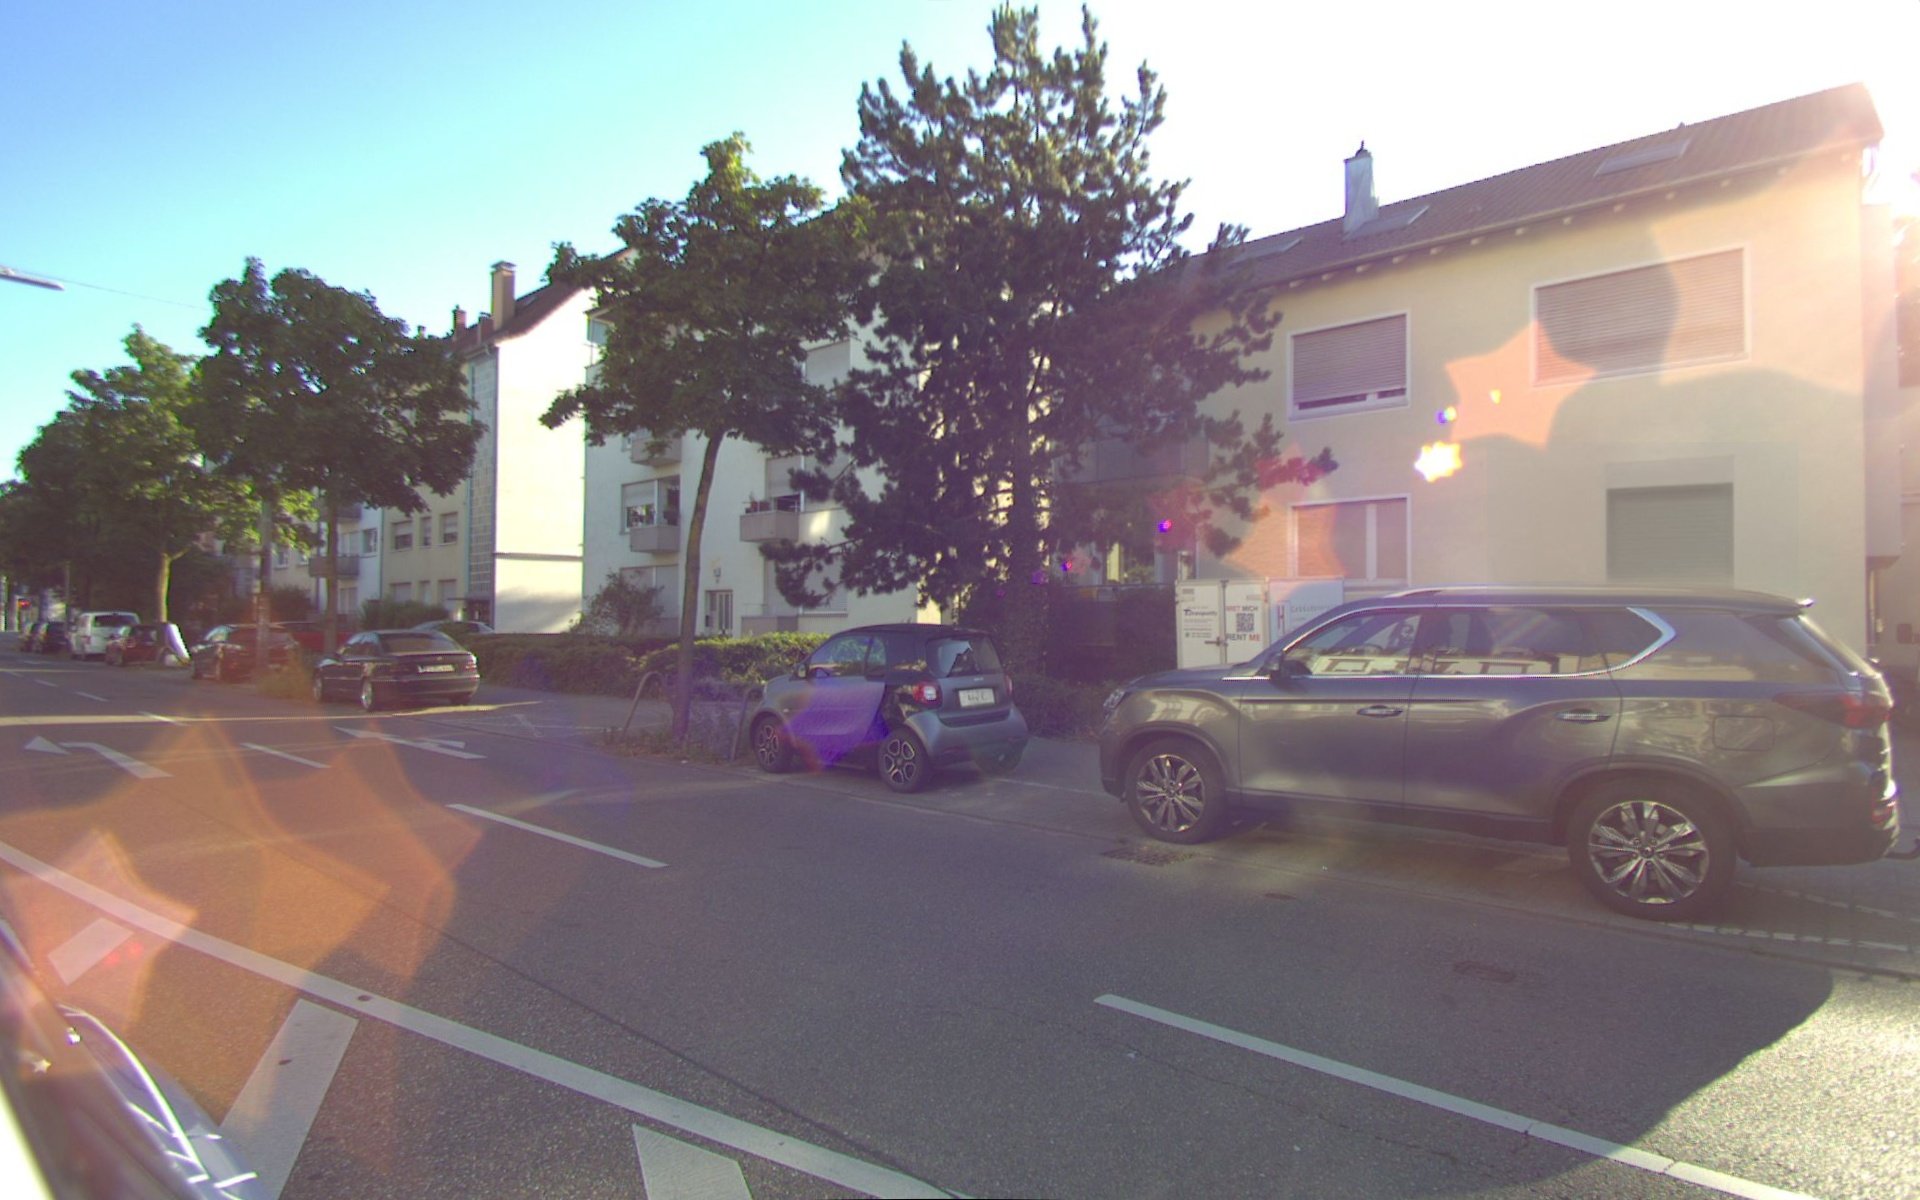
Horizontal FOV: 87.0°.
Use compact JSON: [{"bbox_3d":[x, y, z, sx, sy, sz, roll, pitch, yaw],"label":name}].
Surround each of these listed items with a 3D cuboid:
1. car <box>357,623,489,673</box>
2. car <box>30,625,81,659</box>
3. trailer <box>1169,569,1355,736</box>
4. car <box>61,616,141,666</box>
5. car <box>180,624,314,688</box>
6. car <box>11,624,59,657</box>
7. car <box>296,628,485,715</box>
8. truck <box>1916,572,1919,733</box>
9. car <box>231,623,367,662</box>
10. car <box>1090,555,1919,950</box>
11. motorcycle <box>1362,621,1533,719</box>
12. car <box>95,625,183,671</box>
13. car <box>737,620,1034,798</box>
[{"bbox_3d":[-17.429,1.543,32.961,1.686,1.535,3.422,-2,-3,42],"label":"car"},{"bbox_3d":[-41.441,1.884,46.345,3.682,1.416,1.388,-1,0,43],"label":"car"},{"bbox_3d":[4.192,0.686,13.875,1.551,2.029,2.746,-1,-3,39],"label":"trailer"},{"bbox_3d":[-33.142,1.544,39.023,4.190,1.823,1.717,-1,-2,41],"label":"car"},{"bbox_3d":[-18.369,1.390,26.013,3.997,1.497,1.838,-1,-3,40],"label":"car"},{"bbox_3d":[-44.685,1.934,48.851,3.682,1.475,1.388,-1,0,43],"label":"car"},{"bbox_3d":[-10.613,1.233,18.722,4.441,1.418,1.620,-1,-2,41],"label":"car"},{"bbox_3d":[11.977,0.639,10.760,2.275,2.202,6.823,-1,-2,41],"label":"truck"},{"bbox_3d":[-27.791,1.754,42.673,1.735,1.416,4.516,-1,0,31],"label":"car"},{"bbox_3d":[3.356,0.748,6.688,4.722,1.793,1.868,-1,-2,40],"label":"car"},{"bbox_3d":[7.307,1.009,15.272,2.257,1.384,0.564,-1,-3,41],"label":"motorcycle"},{"bbox_3d":[-27.923,1.602,34.391,3.634,1.475,1.717,-1,-2,41],"label":"car"},{"bbox_3d":[-0.806,1.000,10.420,2.747,1.567,1.557,-1,-2,40],"label":"car"}]
